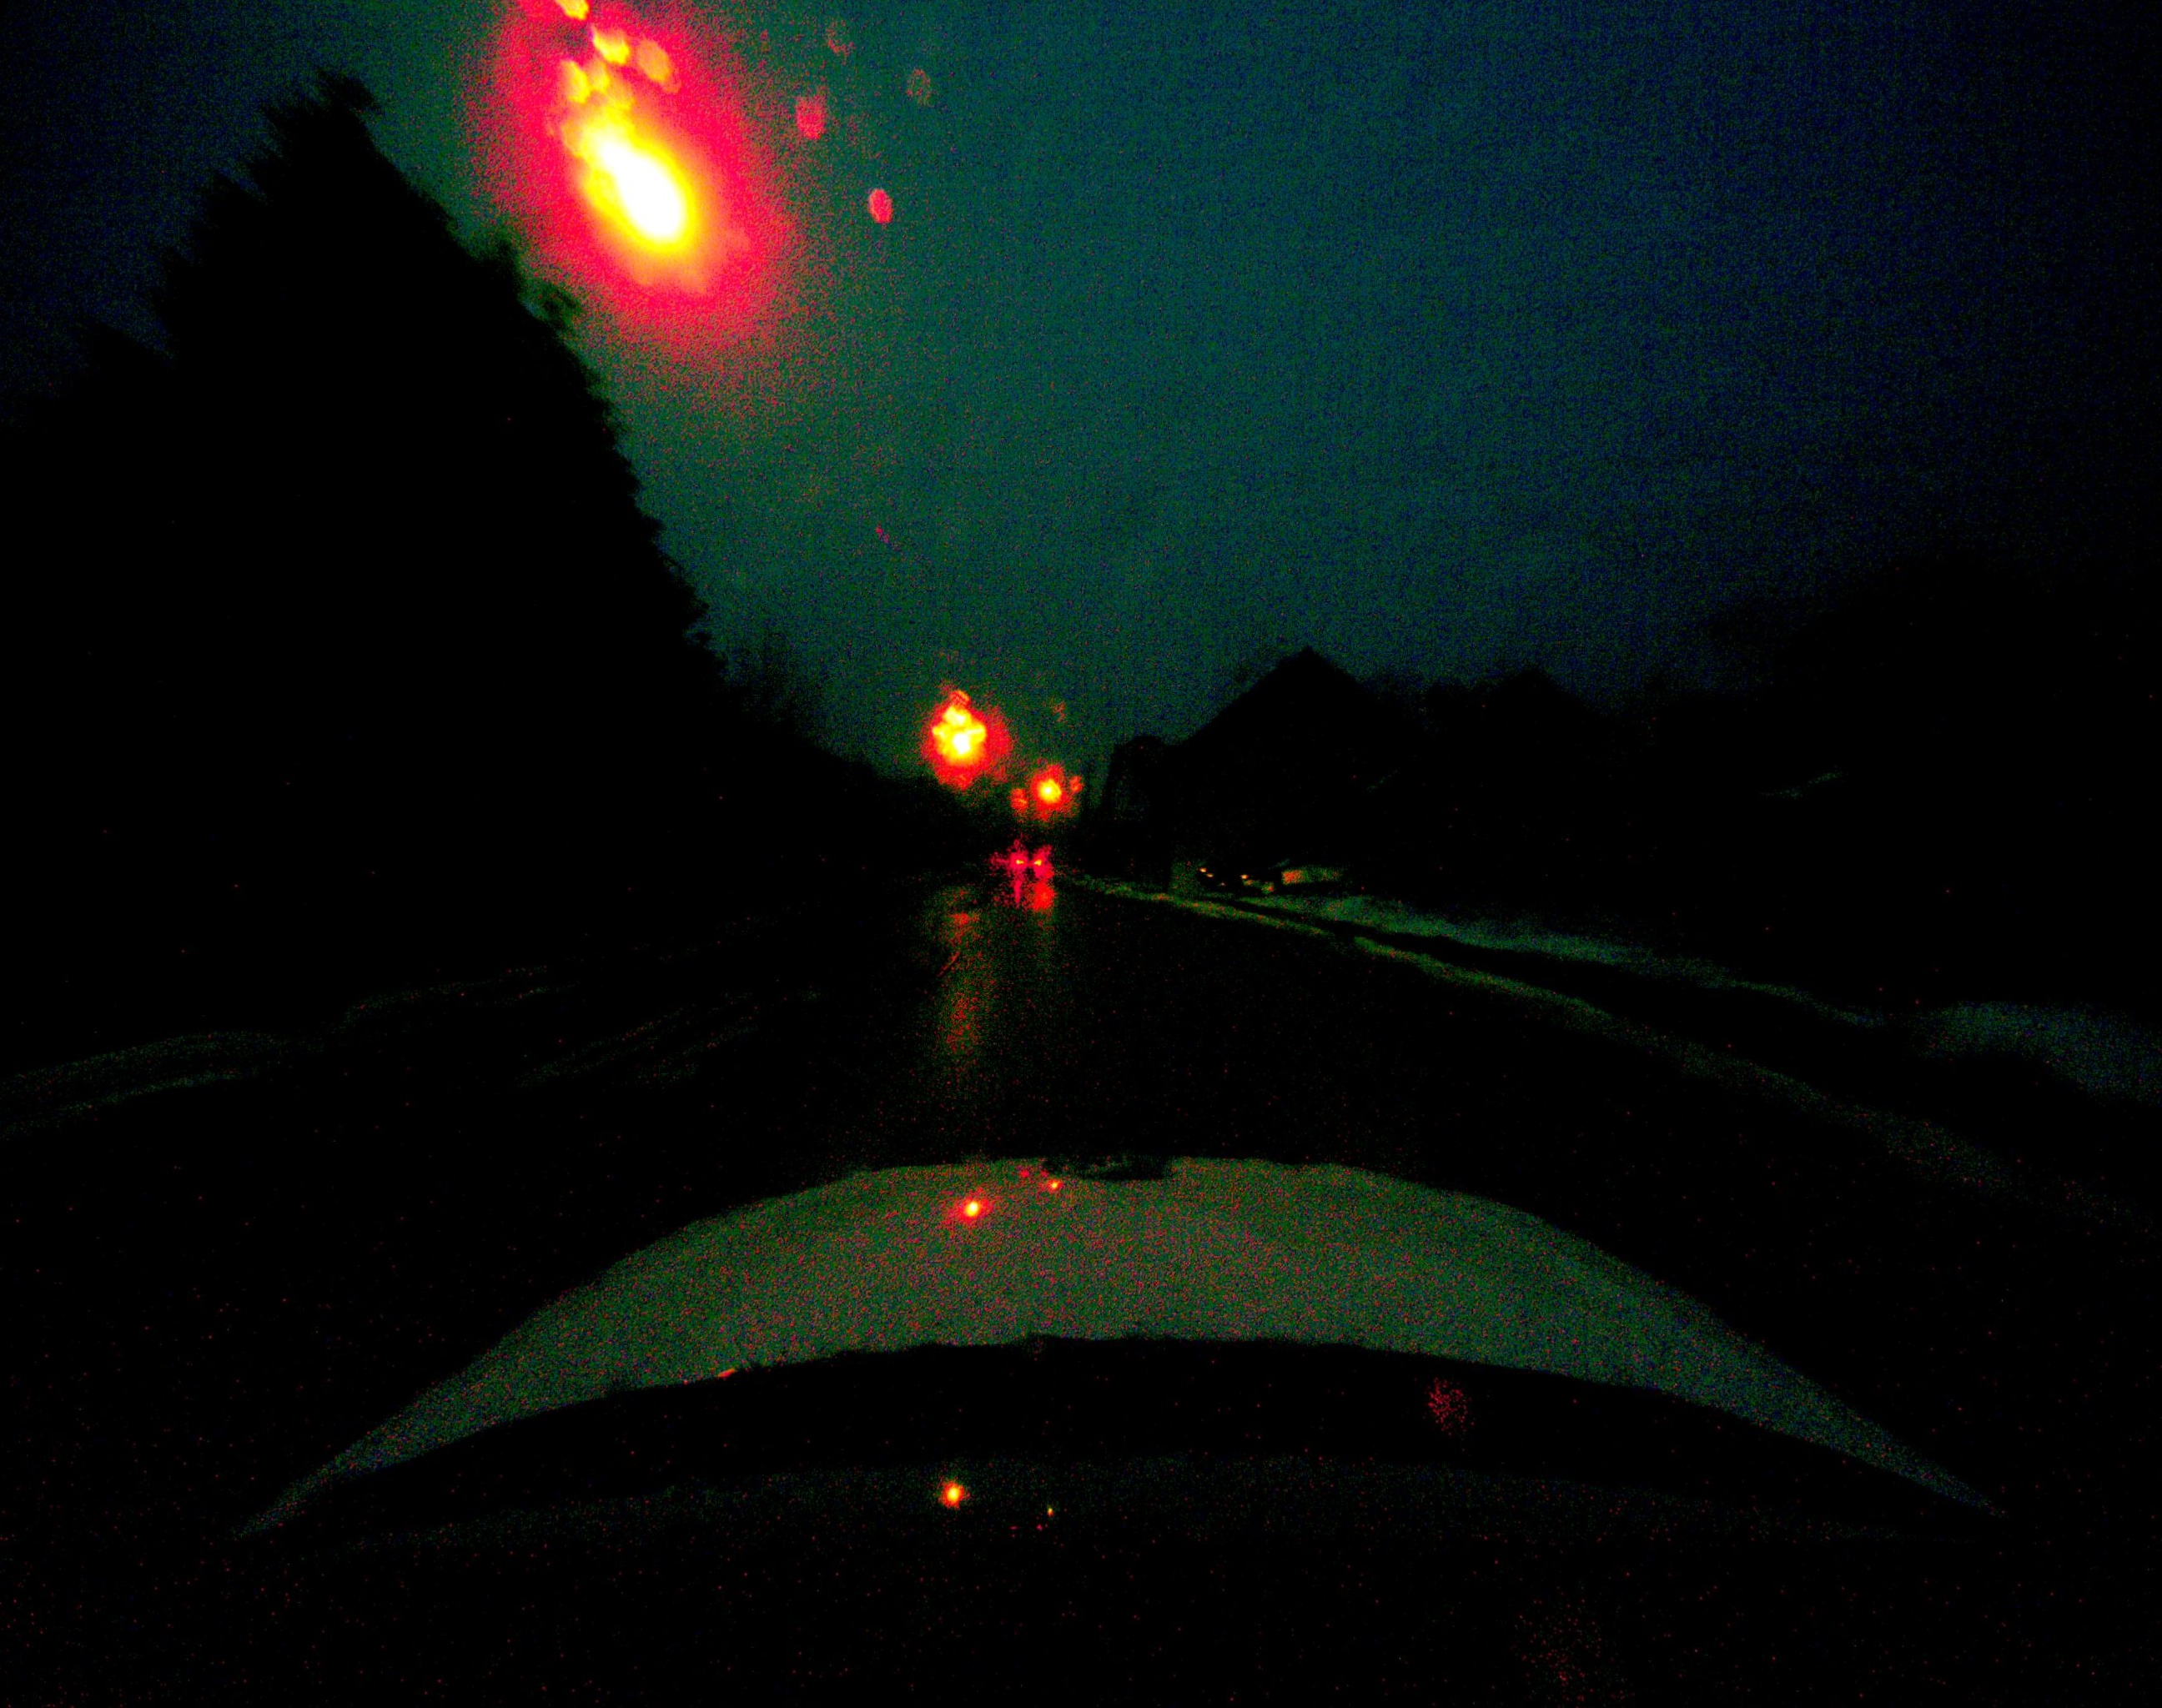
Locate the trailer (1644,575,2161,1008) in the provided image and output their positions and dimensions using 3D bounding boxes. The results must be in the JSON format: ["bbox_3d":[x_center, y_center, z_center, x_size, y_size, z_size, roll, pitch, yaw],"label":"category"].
[{"bbox_3d":[9.585,-0.478,9.242,2.866,3.561,5.061,0,-1,0],"label":"trailer"}]

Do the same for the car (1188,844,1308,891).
[{"bbox_3d":[6.138,0.531,30.415,4.139,1.559,1.948,-2,-3,4],"label":"car"}]

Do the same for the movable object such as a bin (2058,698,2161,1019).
[{"bbox_3d":[9.341,0.001,4.619,2.375,2.469,4.523,0,-1,6],"label":"movable object such as a bin"}]

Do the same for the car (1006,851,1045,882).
[{"bbox_3d":[-3.536,0.816,50.973,1.994,1.737,3.863,-1,-3,-11],"label":"car"}]

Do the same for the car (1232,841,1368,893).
[{"bbox_3d":[7.260,0.469,27.431,4.217,1.559,2.005,-2,-3,9],"label":"car"}]
